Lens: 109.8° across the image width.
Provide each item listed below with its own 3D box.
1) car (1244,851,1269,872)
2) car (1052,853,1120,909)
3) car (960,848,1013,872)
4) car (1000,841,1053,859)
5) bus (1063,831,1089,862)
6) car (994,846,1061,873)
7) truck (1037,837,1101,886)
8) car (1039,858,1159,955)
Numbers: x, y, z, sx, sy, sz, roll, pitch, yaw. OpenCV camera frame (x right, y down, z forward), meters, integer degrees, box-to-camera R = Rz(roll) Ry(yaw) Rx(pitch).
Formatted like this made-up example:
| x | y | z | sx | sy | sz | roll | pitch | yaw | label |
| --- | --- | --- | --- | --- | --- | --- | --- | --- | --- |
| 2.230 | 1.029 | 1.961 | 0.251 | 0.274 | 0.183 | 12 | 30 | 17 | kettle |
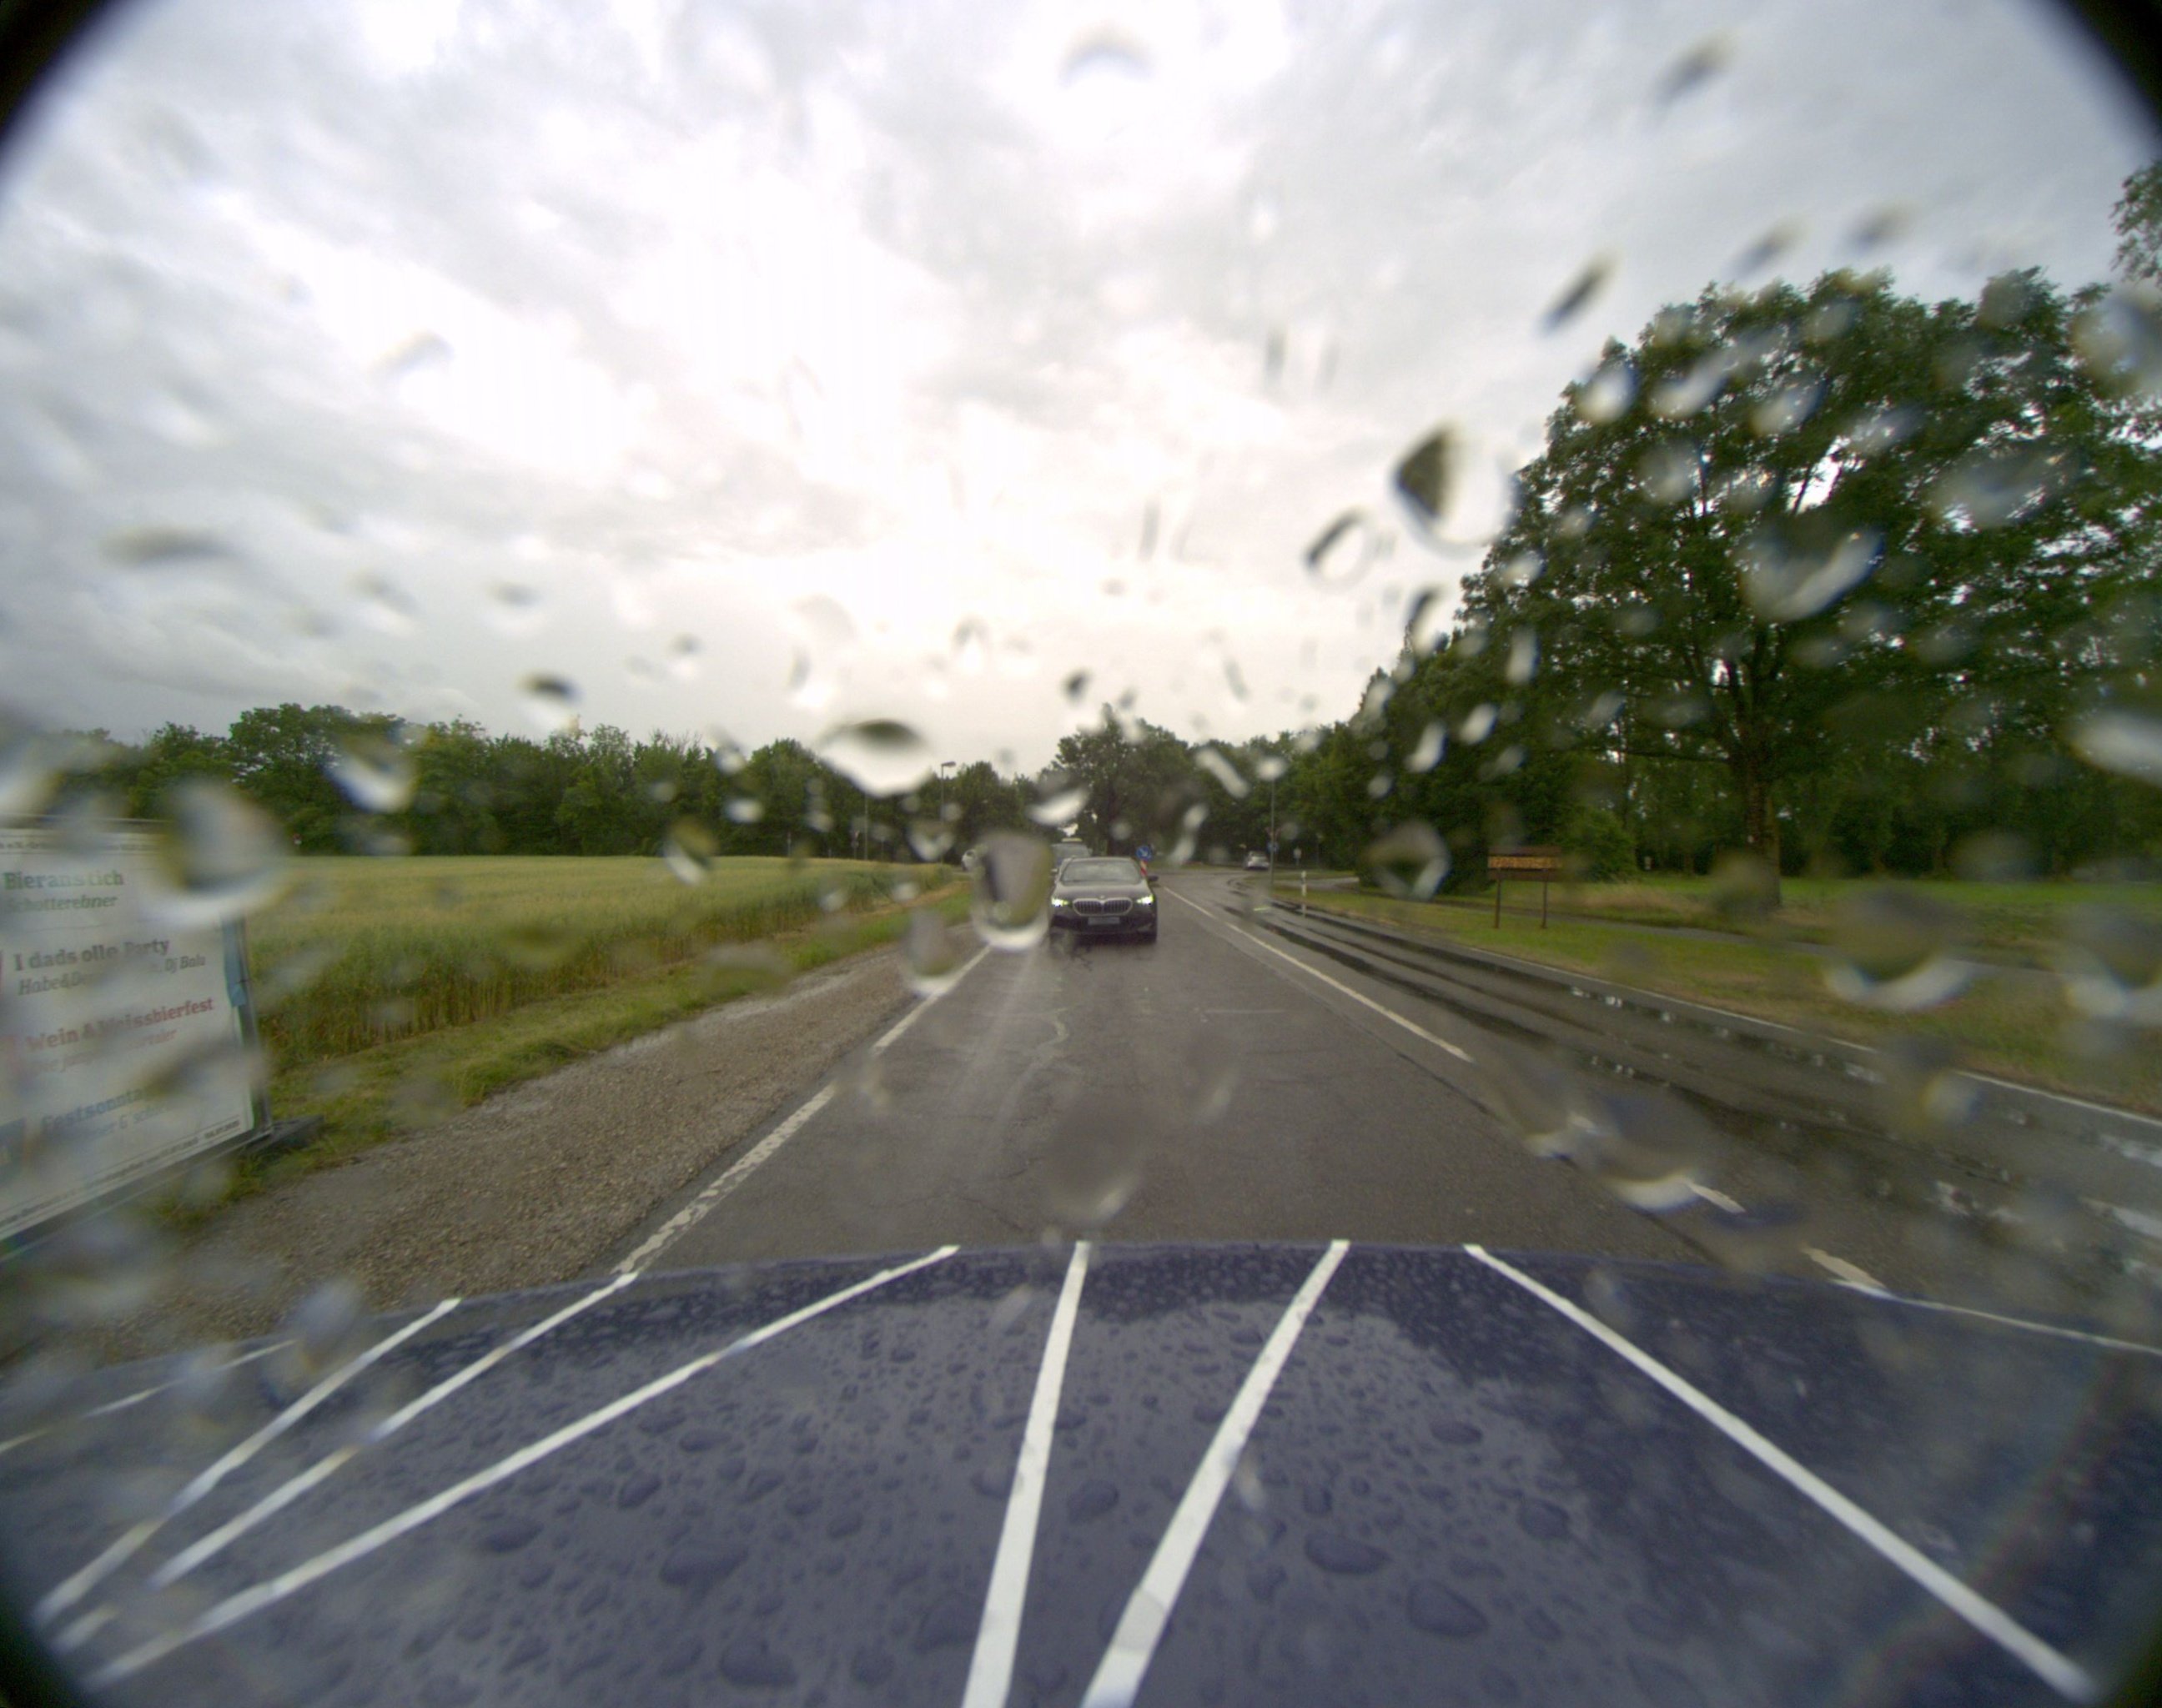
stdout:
| x | y | z | sx | sy | sz | roll | pitch | yaw | label |
| --- | --- | --- | --- | --- | --- | --- | --- | --- | --- |
| 13.393 | 0.545 | 58.166 | 1.678 | 1.490 | 3.737 | 1 | 1 | 11 | car |
| 0.069 | 0.775 | 23.977 | 1.892 | 1.482 | 4.189 | -1 | 2 | -3 | car |
| -6.437 | 0.414 | 51.289 | 1.896 | 1.522 | 4.491 | -1 | 0 | -30 | car |
| -4.896 | -0.361 | 68.972 | 4.511 | 1.522 | 1.888 | -1 | 1 | -39 | car |
| -0.544 | -0.939 | 98.680 | 2.996 | 3.665 | 14.293 | 1 | 0 | 1 | bus |
| -3.330 | 0.324 | 46.164 | 1.896 | 1.522 | 5.243 | -1 | 0 | -30 | car |
| -0.662 | 0.254 | 36.055 | 2.077 | 2.050 | 5.763 | -3 | 2 | -10 | truck |
| 0.329 | 0.857 | 14.198 | 1.891 | 1.484 | 4.035 | -1 | 0 | 1 | car |
